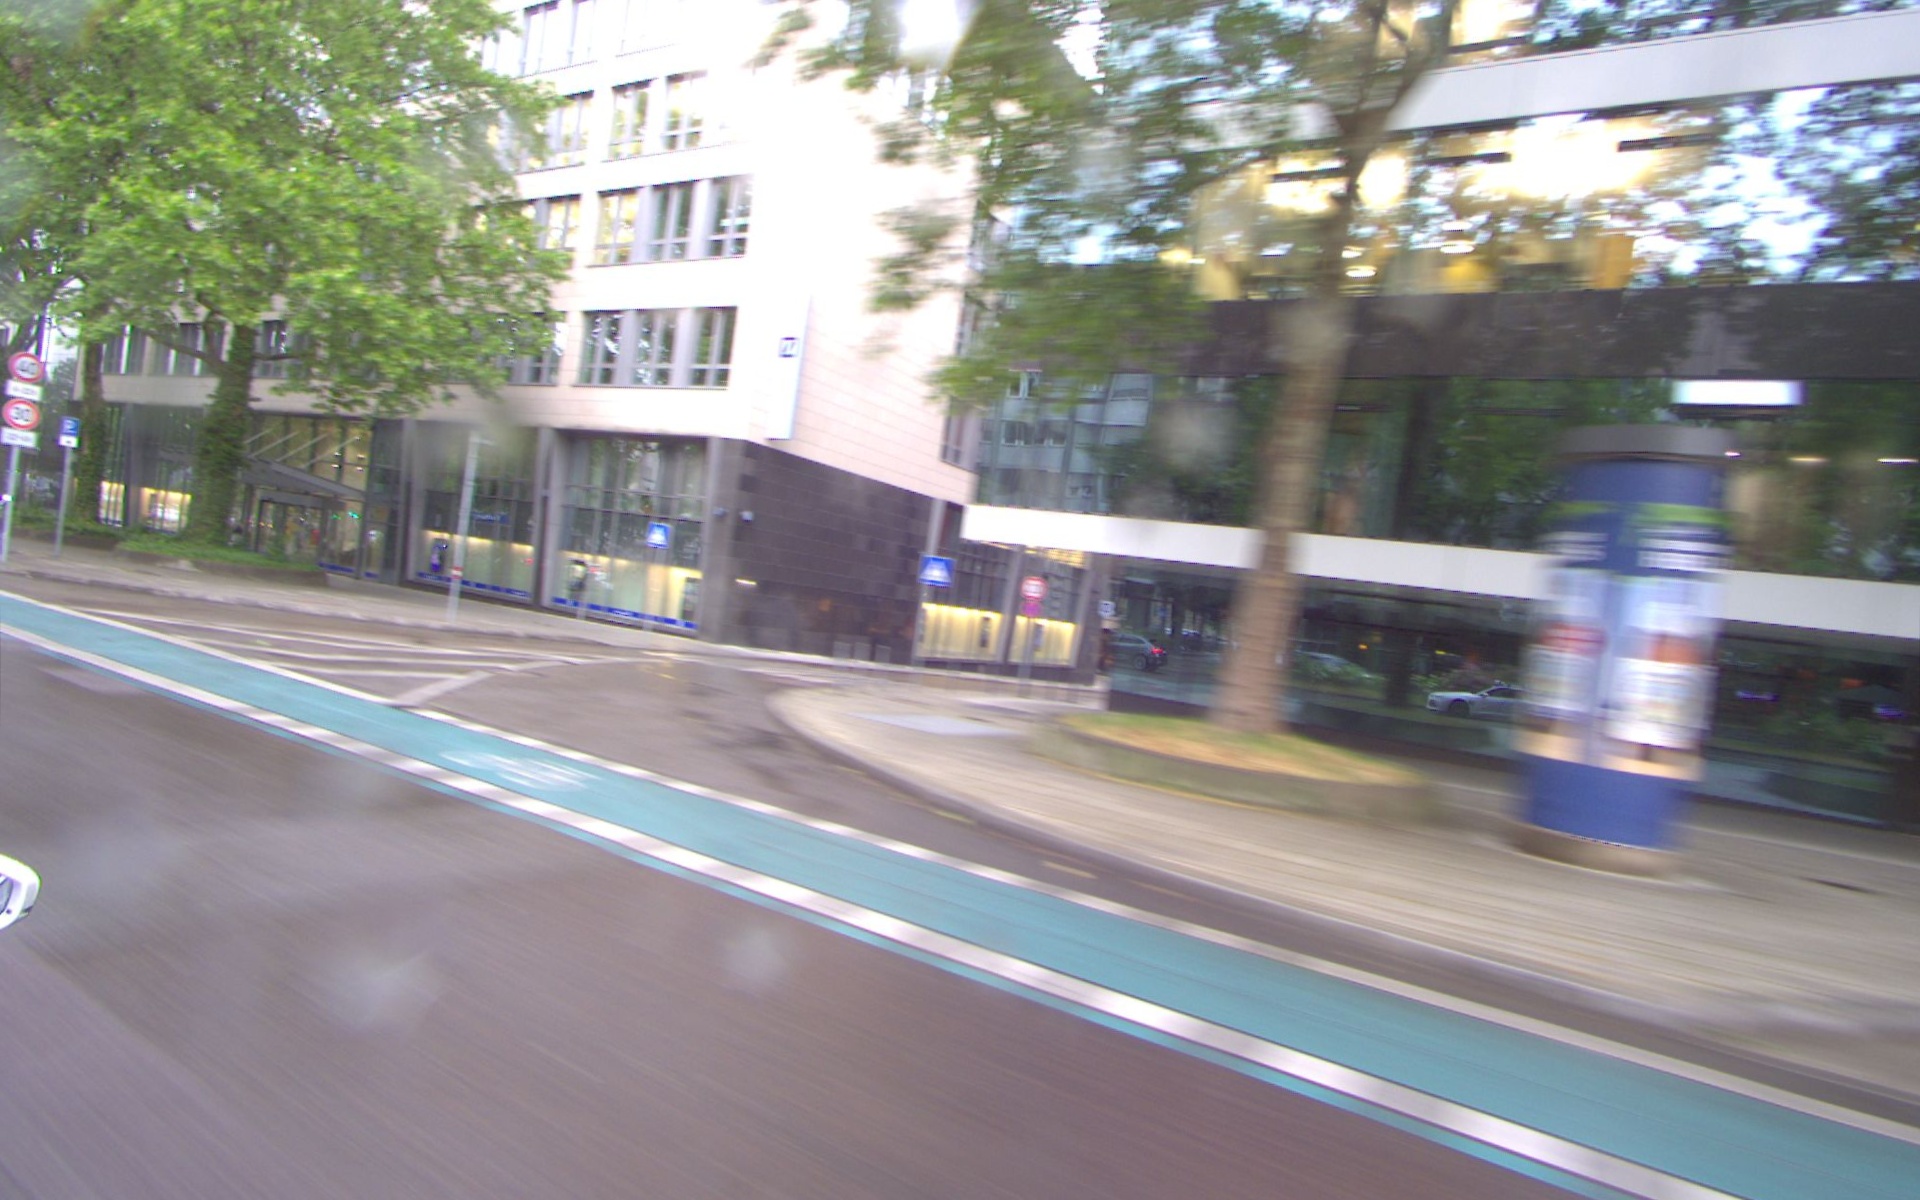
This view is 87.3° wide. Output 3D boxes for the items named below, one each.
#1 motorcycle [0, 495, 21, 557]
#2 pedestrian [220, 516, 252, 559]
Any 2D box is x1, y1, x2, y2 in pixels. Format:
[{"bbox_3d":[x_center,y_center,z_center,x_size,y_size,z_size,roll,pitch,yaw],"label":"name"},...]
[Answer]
[{"bbox_3d":[-21.926,-1.681,22.421,0.674,1.385,1.937,4,2,-18],"label":"motorcycle"},{"bbox_3d":[-30.943,-2.664,43.024,0.718,1.714,0.825,7,1,-16],"label":"pedestrian"}]
